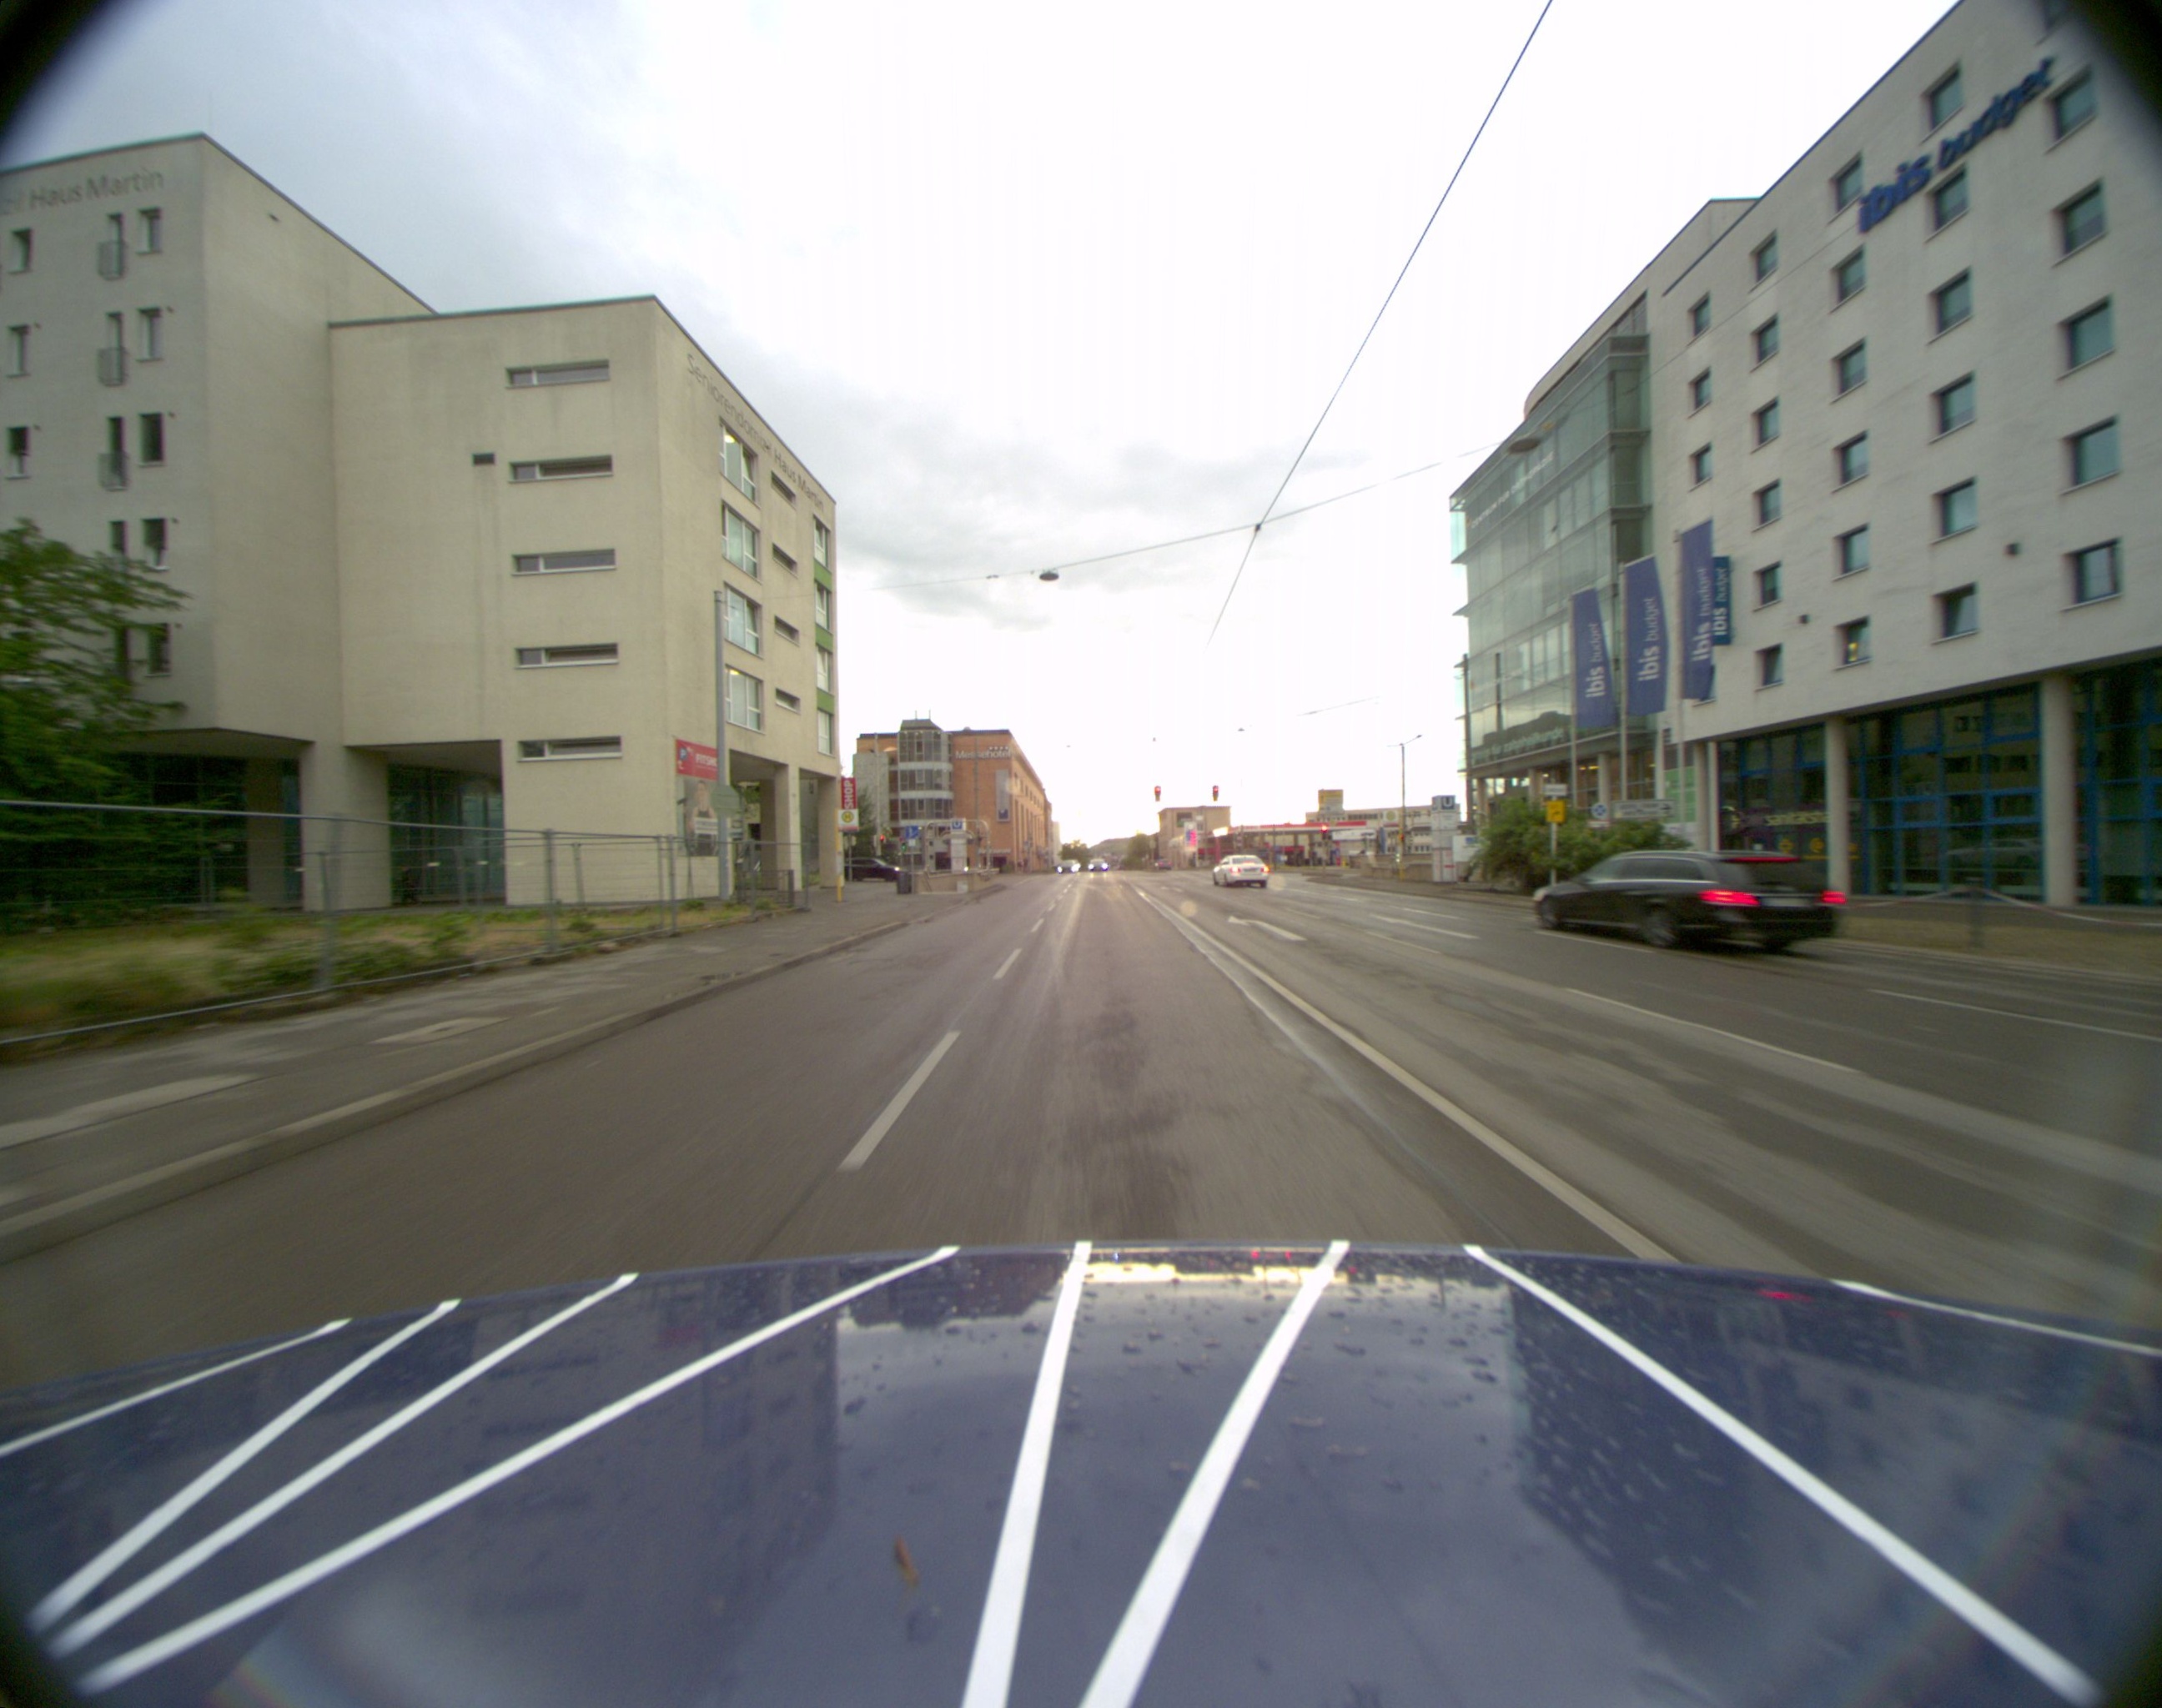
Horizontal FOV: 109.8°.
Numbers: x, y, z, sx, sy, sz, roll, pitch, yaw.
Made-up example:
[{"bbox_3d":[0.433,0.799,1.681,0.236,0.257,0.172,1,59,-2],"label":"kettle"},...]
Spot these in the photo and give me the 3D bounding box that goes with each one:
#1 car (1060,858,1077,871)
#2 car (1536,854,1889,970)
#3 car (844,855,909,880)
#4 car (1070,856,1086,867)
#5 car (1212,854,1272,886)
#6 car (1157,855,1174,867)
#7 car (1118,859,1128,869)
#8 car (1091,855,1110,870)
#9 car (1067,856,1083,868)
[{"bbox_3d":[-1.365,1.168,84.534,1.649,1.313,4.000,-2,0,1],"label":"car"},{"bbox_3d":[9.530,0.792,12.121,1.737,1.468,4.699,1,-1,0],"label":"car"},{"bbox_3d":[-14.368,0.933,53.580,3.996,1.565,2.000,1,2,4],"label":"car"},{"bbox_3d":[-0.354,0.964,98.740,1.696,1.392,4.089,-2,0,3],"label":"car"},{"bbox_3d":[7.482,0.704,35.783,1.822,1.379,4.963,-1,0,0],"label":"car"},{"bbox_3d":[12.217,0.979,109.560,1.913,1.622,4.210,-1,0,-1],"label":"car"},{"bbox_3d":[8.533,2.025,155.056,1.857,1.758,4.131,1,1,1],"label":"car"},{"bbox_3d":[2.175,0.921,85.525,1.964,1.516,4.262,-2,0,1],"label":"car"},{"bbox_3d":[-0.714,0.974,91.773,1.696,1.392,4.089,-2,0,3],"label":"car"}]
